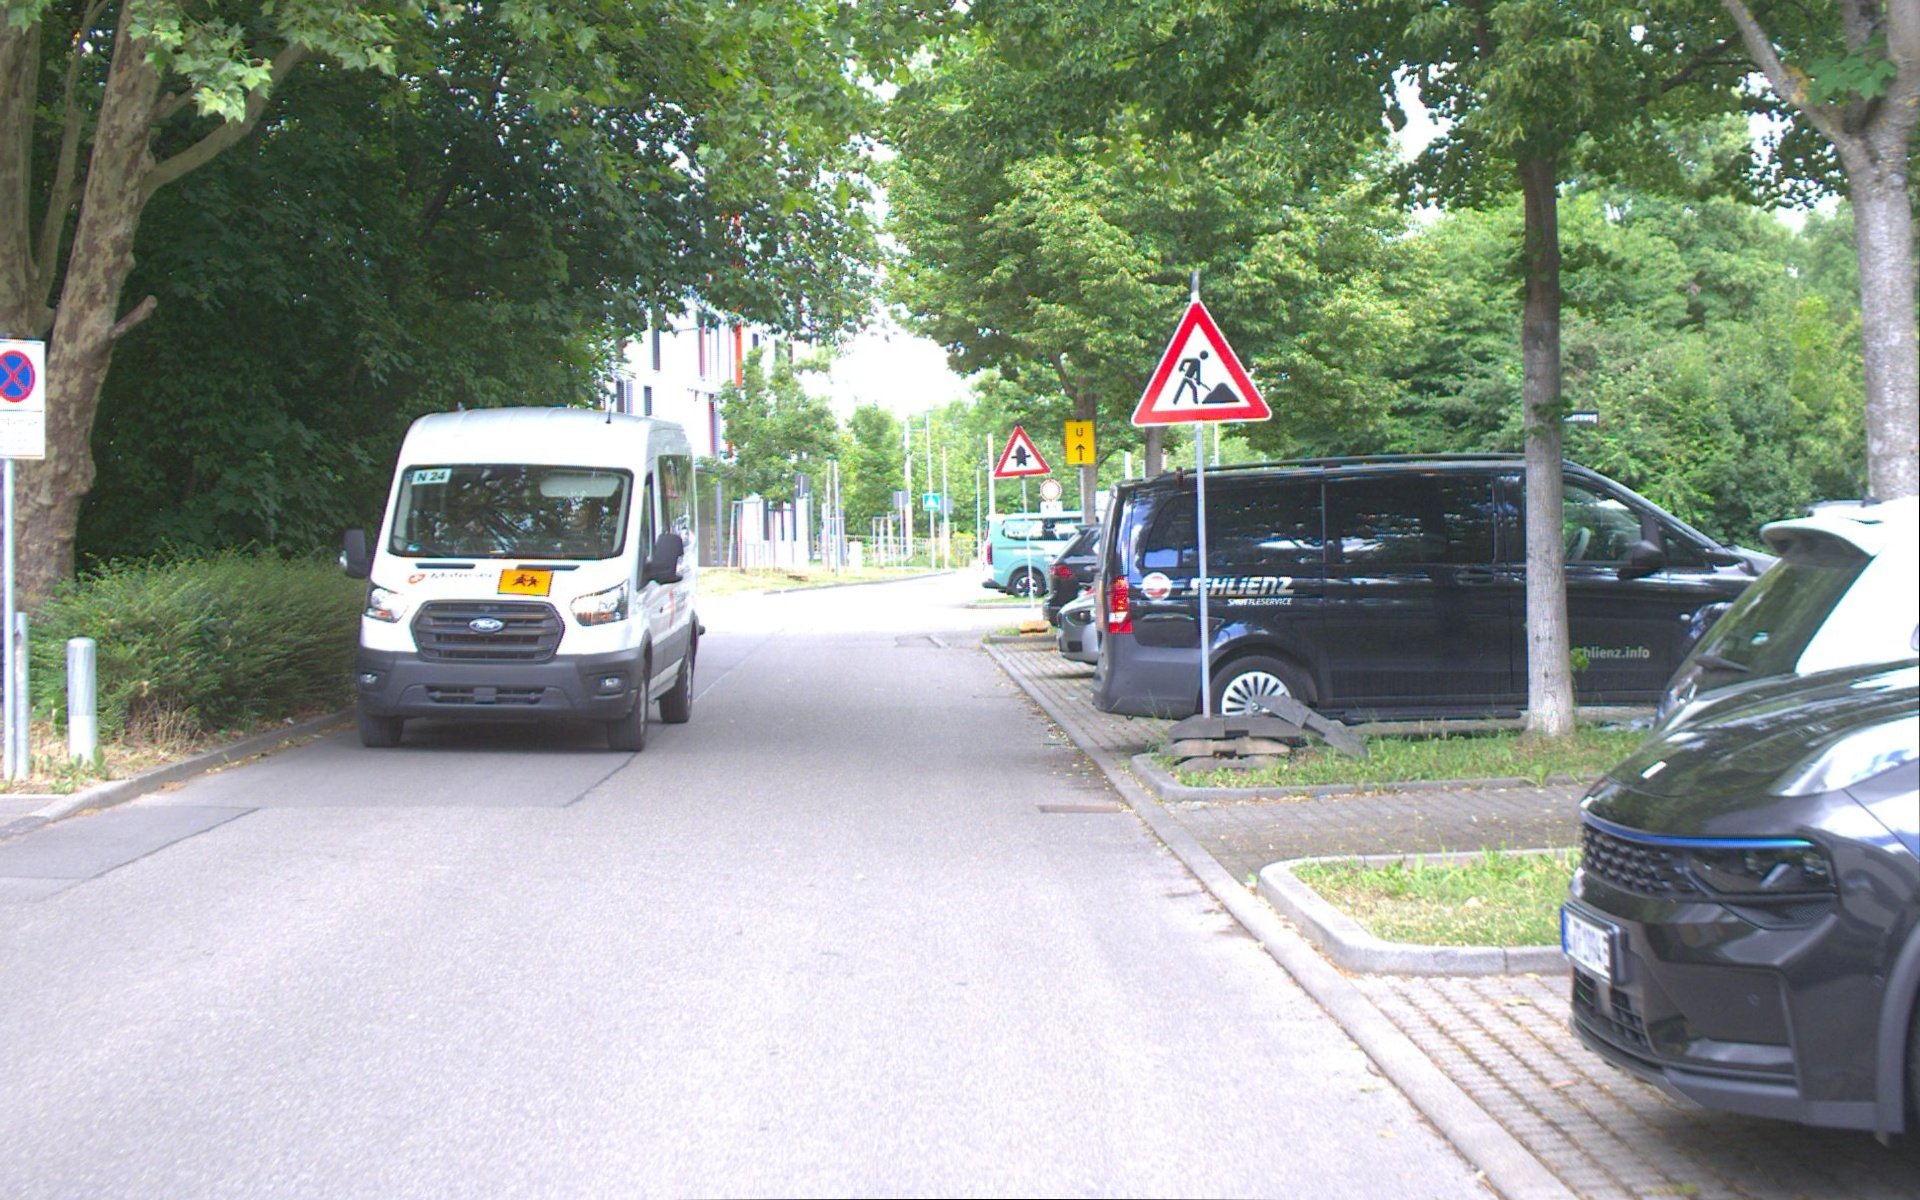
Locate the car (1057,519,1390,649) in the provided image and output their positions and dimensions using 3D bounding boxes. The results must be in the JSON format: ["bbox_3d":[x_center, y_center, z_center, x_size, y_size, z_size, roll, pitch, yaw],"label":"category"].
[{"bbox_3d":[3.123,-0.194,41.144,3.832,1.354,1.822,-2,0,3],"label":"car"}]

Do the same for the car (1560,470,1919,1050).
[{"bbox_3d":[3.701,0.361,10.419,3.379,1.569,1.797,-3,2,0],"label":"car"}]

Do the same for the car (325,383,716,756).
[{"bbox_3d":[-3.147,-0.275,26.017,2.132,2.467,6.277,0,1,0],"label":"car"}]

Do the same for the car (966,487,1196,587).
[{"bbox_3d":[2.660,-1.401,76.537,4.972,1.965,1.847,-3,1,0],"label":"car"}]

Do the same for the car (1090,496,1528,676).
[{"bbox_3d":[3.316,-0.138,33.259,3.987,1.522,1.811,-2,0,0],"label":"car"}]

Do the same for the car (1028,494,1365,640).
[{"bbox_3d":[2.986,-0.420,43.774,4.124,1.644,1.980,-2,0,3],"label":"car"}]

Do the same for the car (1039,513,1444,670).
[{"bbox_3d":[2.890,-0.098,35.969,3.987,1.425,1.936,-2,0,-1],"label":"car"}]

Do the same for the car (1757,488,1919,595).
[{"bbox_3d":[14.984,-0.964,55.773,3.780,1.662,1.767,-1,1,6],"label":"car"}]

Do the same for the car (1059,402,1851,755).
[{"bbox_3d":[3.224,-0.162,23.250,4.954,2.007,2.166,-3,1,0],"label":"car"}]

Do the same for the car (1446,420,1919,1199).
[{"bbox_3d":[3.507,0.378,7.809,4.415,1.670,2.082,-3,2,-1],"label":"car"}]
